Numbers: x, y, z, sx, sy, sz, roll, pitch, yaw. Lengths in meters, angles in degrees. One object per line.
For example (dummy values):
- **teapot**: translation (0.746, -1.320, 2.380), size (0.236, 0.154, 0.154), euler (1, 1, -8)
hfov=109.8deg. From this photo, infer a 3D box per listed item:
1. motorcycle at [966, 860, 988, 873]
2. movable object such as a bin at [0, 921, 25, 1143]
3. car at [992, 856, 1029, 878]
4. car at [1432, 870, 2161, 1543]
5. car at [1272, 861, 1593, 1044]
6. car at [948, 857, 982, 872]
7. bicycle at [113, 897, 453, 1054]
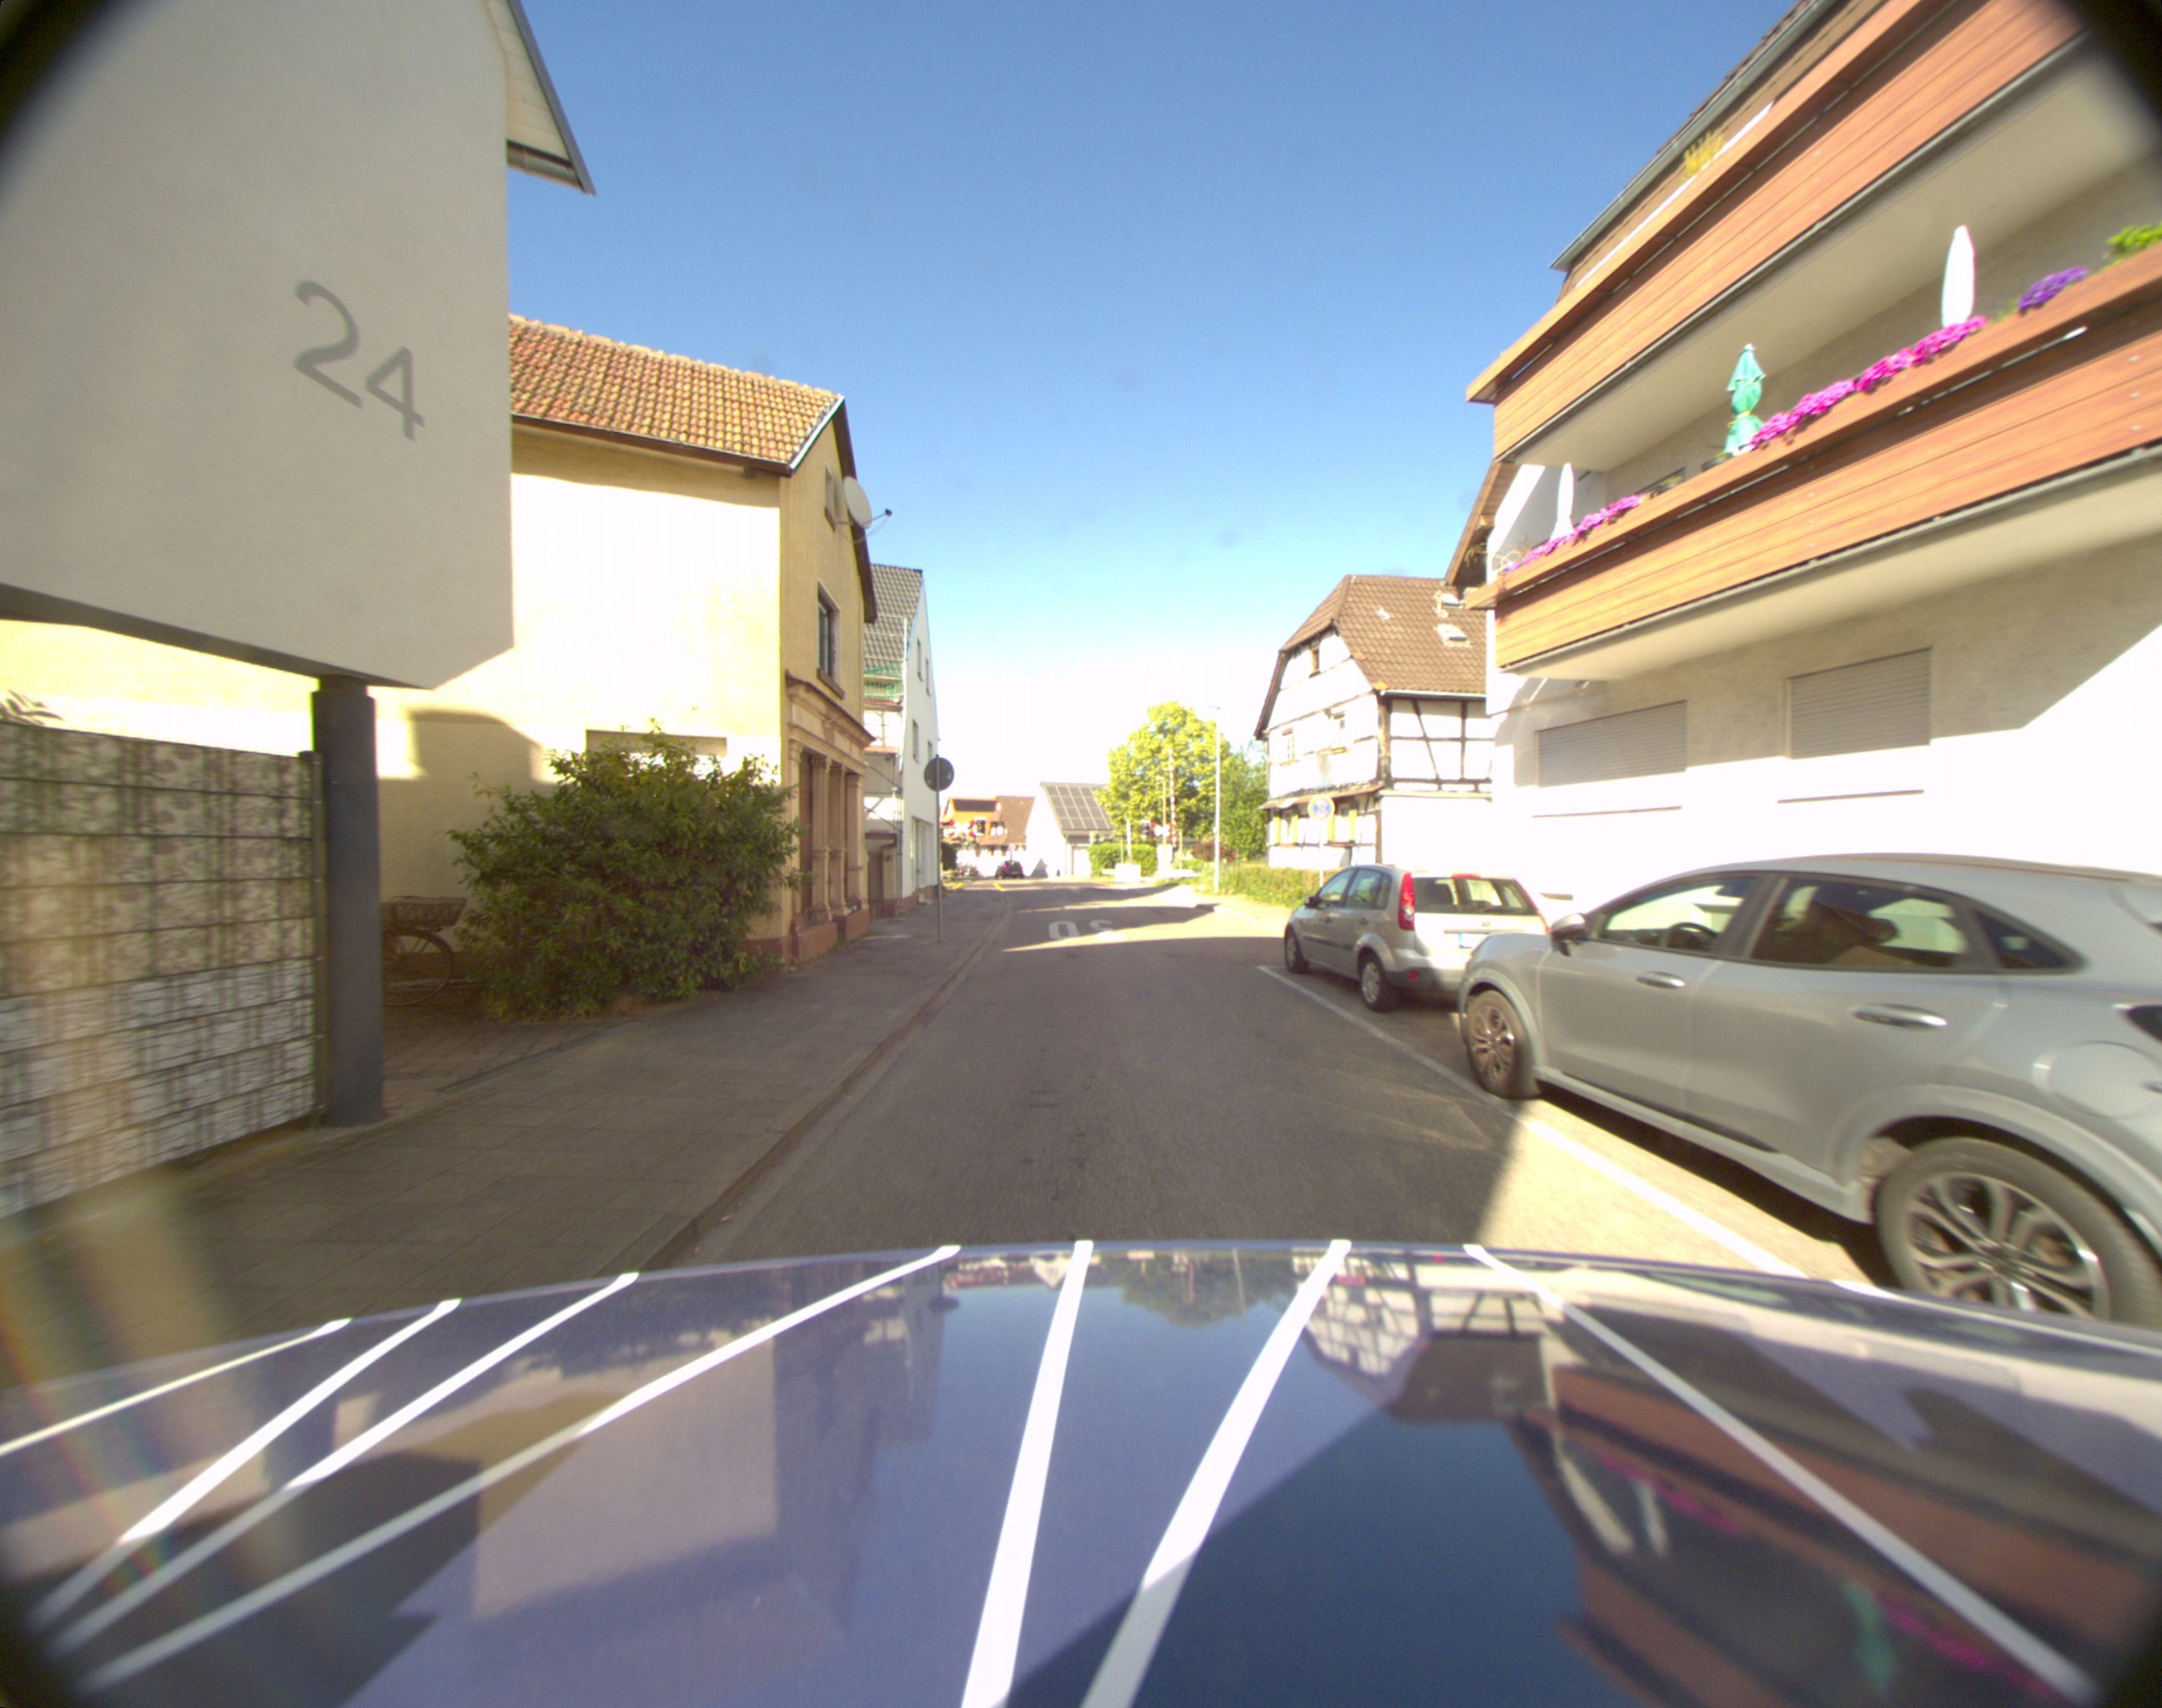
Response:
- **motorcycle**: translation (-9.913, 1.214, 72.348), size (1.990, 1.224, 0.627), euler (0, 0, 17)
- **movable object such as a bin**: translation (-5.743, 0.916, 3.614), size (0.602, 1.122, 0.584), euler (1, 2, -19)
- **car**: translation (-5.522, 0.952, 59.265), size (1.693, 1.502, 3.647), euler (-4, 2, -23)
- **car**: translation (3.350, 0.872, 3.303), size (1.678, 1.497, 4.094), euler (1, 0, -1)
- **car**: translation (3.537, 0.874, 8.510), size (1.635, 1.497, 3.852), euler (3, 0, -2)
- **car**: translation (-11.583, 1.061, 75.495), size (1.853, 1.398, 5.025), euler (1, 0, -27)
- **bicycle**: translation (-6.398, 0.916, 6.263), size (1.810, 1.072, 0.699), euler (2, 1, -35)
